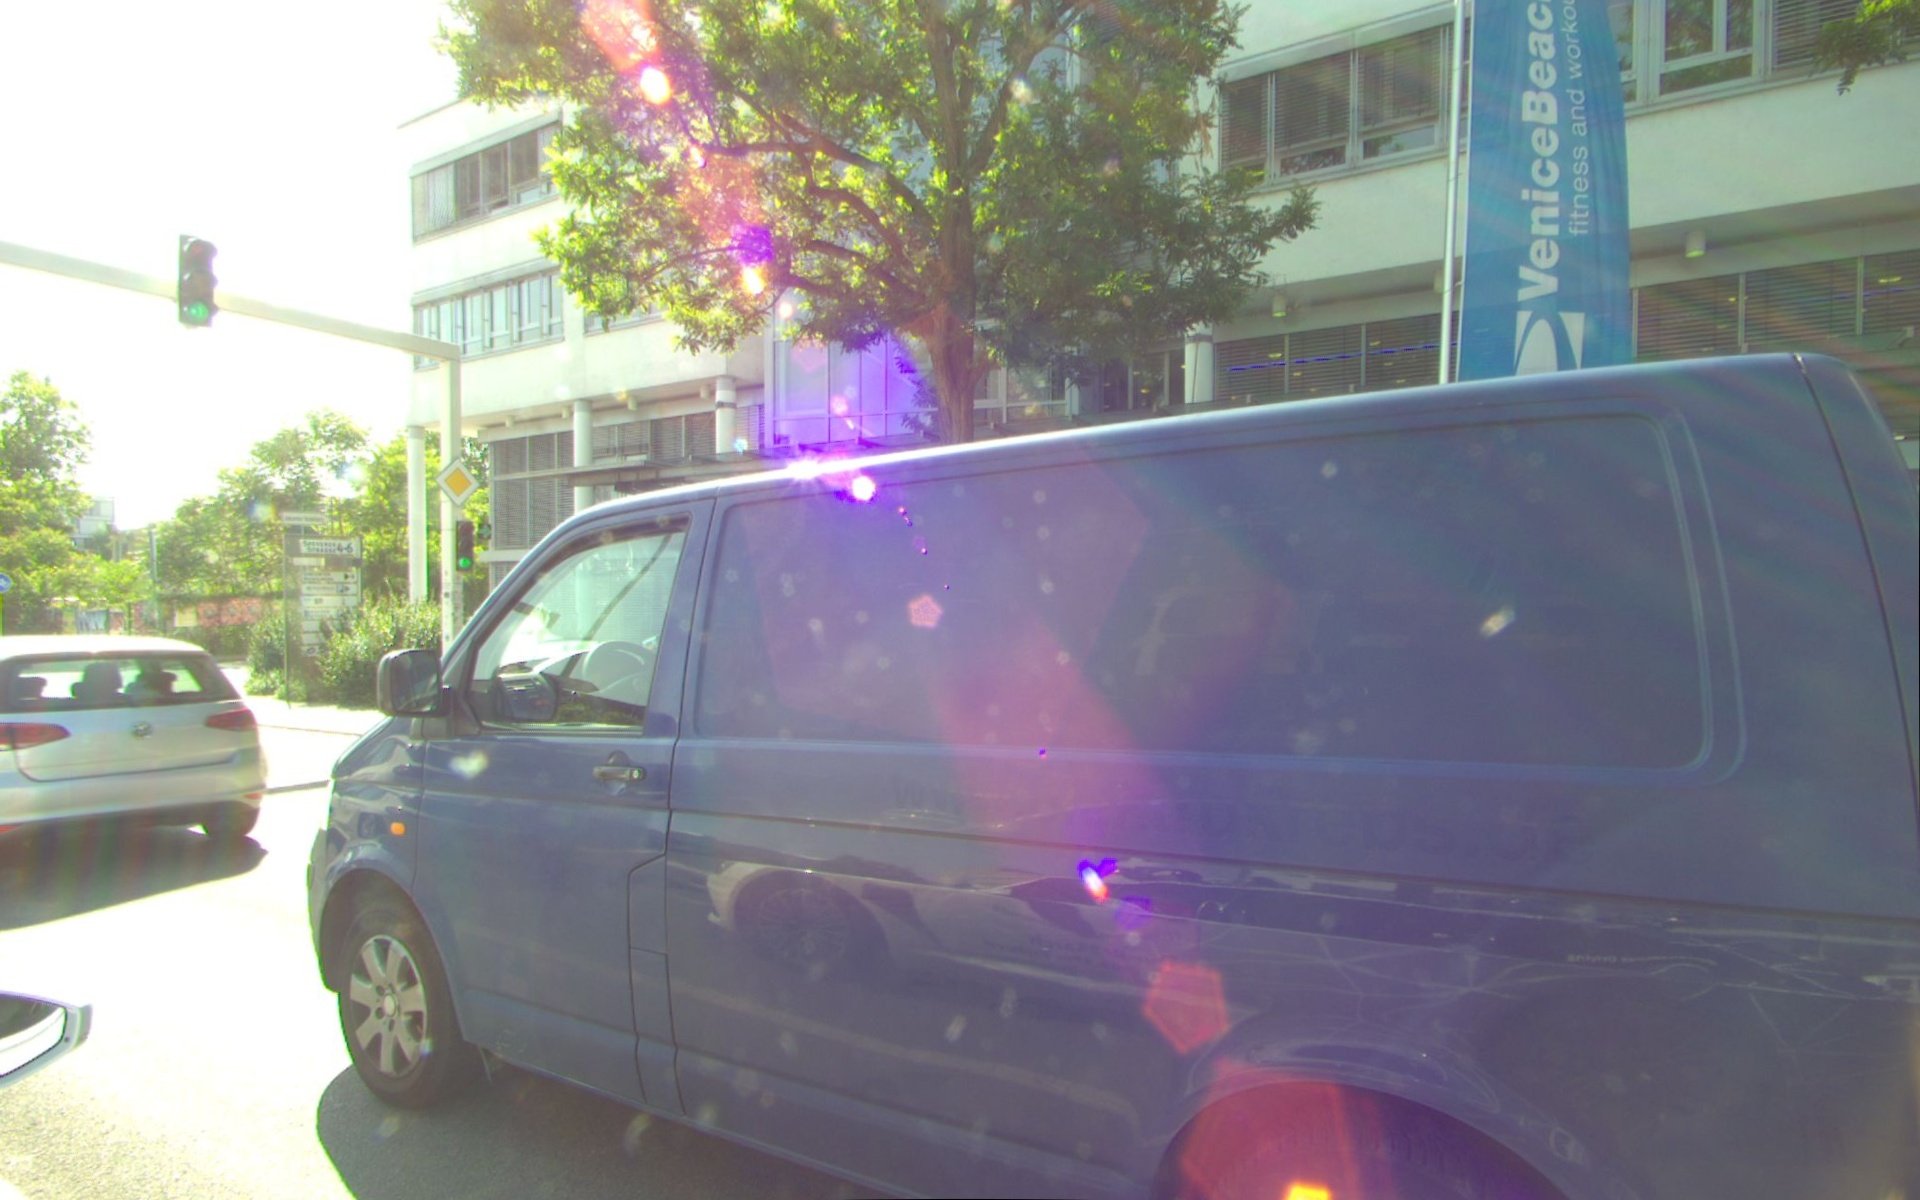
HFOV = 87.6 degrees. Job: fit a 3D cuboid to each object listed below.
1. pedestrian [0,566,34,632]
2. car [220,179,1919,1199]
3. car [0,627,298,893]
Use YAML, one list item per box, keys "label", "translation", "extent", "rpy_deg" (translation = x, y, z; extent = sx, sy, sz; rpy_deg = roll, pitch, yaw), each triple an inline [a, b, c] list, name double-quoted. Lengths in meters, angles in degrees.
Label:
- label: "pedestrian"
  translation: [-30.112, -0.021, 31.628]
  extent: [1.023, 2.040, 1.025]
  rpy_deg: [0, 0, 32]
- label: "car"
  translation: [-0.087, 0.537, 3.157]
  extent: [4.821, 1.973, 1.989]
  rpy_deg: [-1, -1, 32]
- label: "car"
  translation: [-6.698, 0.952, 7.165]
  extent: [3.943, 1.448, 1.804]
  rpy_deg: [-1, -1, 32]
